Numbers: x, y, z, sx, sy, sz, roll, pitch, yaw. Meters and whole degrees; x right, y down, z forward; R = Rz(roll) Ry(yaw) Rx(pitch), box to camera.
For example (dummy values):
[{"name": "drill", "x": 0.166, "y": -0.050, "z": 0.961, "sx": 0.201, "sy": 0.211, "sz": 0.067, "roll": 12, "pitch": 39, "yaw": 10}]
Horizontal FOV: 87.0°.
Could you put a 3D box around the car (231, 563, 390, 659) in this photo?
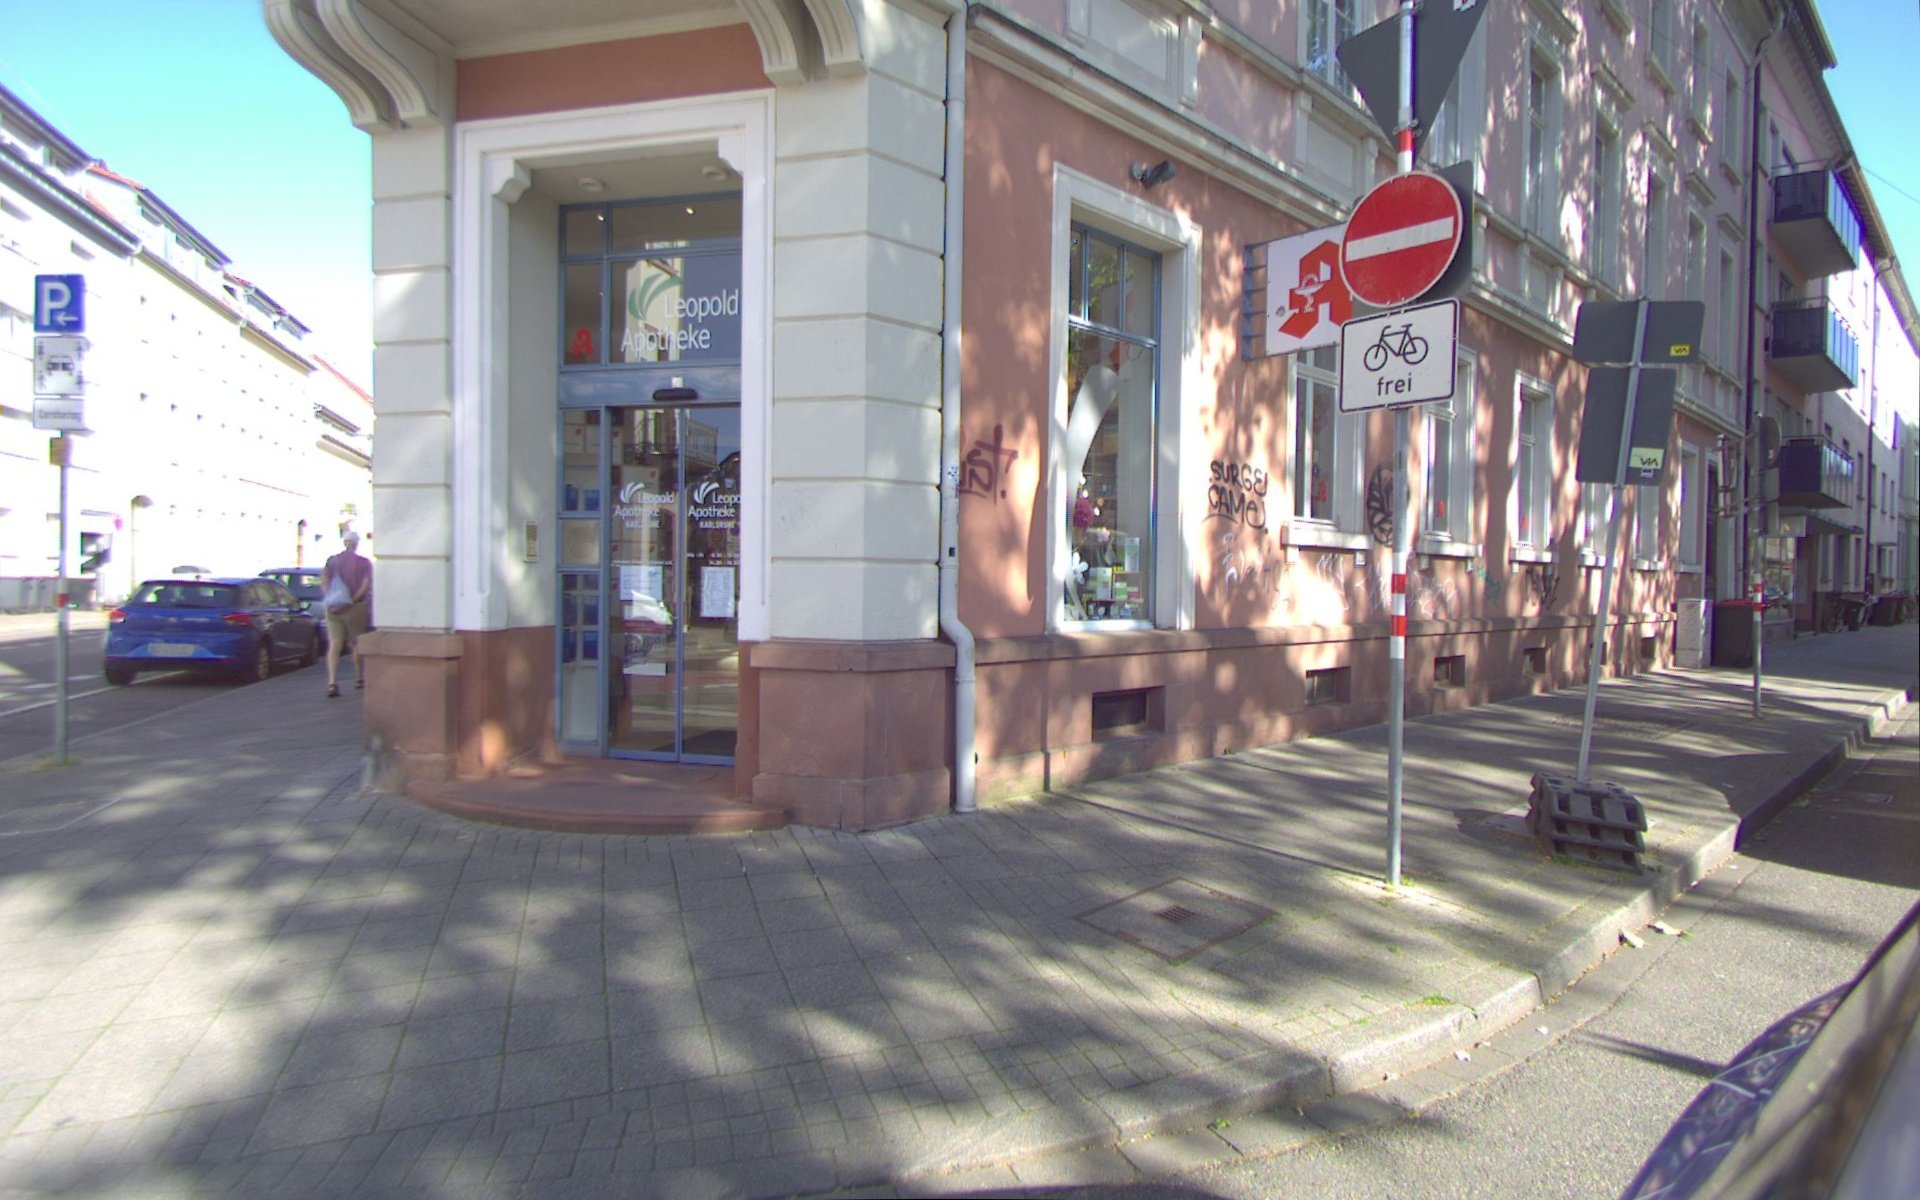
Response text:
[{"name": "car", "x": -12.097, "y": 0.137, "z": 19.081, "sx": 1.671, "sy": 1.556, "sz": 3.648, "roll": 3, "pitch": 1, "yaw": -19}]

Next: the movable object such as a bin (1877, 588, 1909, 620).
[{"name": "movable object such as a bin", "x": 31.427, "y": 0.136, "z": 34.093, "sx": 0.537, "sy": 1.014, "sz": 0.716, "roll": 0, "pitch": 4, "yaw": -43}]

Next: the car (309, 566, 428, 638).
[{"name": "car", "x": -13.700, "y": 0.002, "z": 23.637, "sx": 1.671, "sy": 1.451, "sz": 3.648, "roll": 3, "pitch": 2, "yaw": -19}]

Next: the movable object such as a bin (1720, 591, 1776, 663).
[{"name": "movable object such as a bin", "x": 12.915, "y": 0.429, "z": 16.580, "sx": 0.643, "sy": 1.097, "sz": 0.570, "roll": 0, "pitch": 4, "yaw": -43}]

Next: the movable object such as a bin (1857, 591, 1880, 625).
[{"name": "movable object such as a bin", "x": 26.432, "y": 0.229, "z": 29.440, "sx": 0.297, "sy": 0.951, "sz": 0.415, "roll": 0, "pitch": 4, "yaw": -43}]

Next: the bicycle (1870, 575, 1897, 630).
[{"name": "bicycle", "x": 30.051, "y": 0.069, "z": 32.916, "sx": 2.070, "sy": 1.757, "sz": 0.402, "roll": -1, "pitch": 1, "yaw": -42}]

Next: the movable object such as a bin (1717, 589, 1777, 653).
[{"name": "movable object such as a bin", "x": 14.449, "y": 0.366, "z": 18.578, "sx": 0.608, "sy": 1.097, "sz": 0.717, "roll": 0, "pitch": 4, "yaw": -43}]

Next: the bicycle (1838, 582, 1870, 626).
[{"name": "bicycle", "x": 24.552, "y": 0.102, "z": 27.779, "sx": 1.990, "sy": 1.164, "sz": 0.402, "roll": -1, "pitch": 1, "yaw": -42}]

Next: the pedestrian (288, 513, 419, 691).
[{"name": "pedestrian", "x": -6.673, "y": -0.003, "z": 11.147, "sx": 0.819, "sy": 1.781, "sz": 0.751, "roll": -15, "pitch": 11, "yaw": -41}]

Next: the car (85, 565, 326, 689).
[{"name": "car", "x": -10.445, "y": 0.289, "z": 14.326, "sx": 1.671, "sy": 1.451, "sz": 3.648, "roll": 3, "pitch": 2, "yaw": -19}]

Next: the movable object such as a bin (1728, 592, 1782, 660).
[{"name": "movable object such as a bin", "x": 13.357, "y": 0.430, "z": 16.997, "sx": 0.602, "sy": 1.071, "sz": 0.570, "roll": 0, "pitch": 4, "yaw": -43}]

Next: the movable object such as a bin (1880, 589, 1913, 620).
[{"name": "movable object such as a bin", "x": 31.888, "y": 0.150, "z": 34.464, "sx": 0.537, "sy": 1.014, "sz": 0.716, "roll": 0, "pitch": 4, "yaw": -43}]
